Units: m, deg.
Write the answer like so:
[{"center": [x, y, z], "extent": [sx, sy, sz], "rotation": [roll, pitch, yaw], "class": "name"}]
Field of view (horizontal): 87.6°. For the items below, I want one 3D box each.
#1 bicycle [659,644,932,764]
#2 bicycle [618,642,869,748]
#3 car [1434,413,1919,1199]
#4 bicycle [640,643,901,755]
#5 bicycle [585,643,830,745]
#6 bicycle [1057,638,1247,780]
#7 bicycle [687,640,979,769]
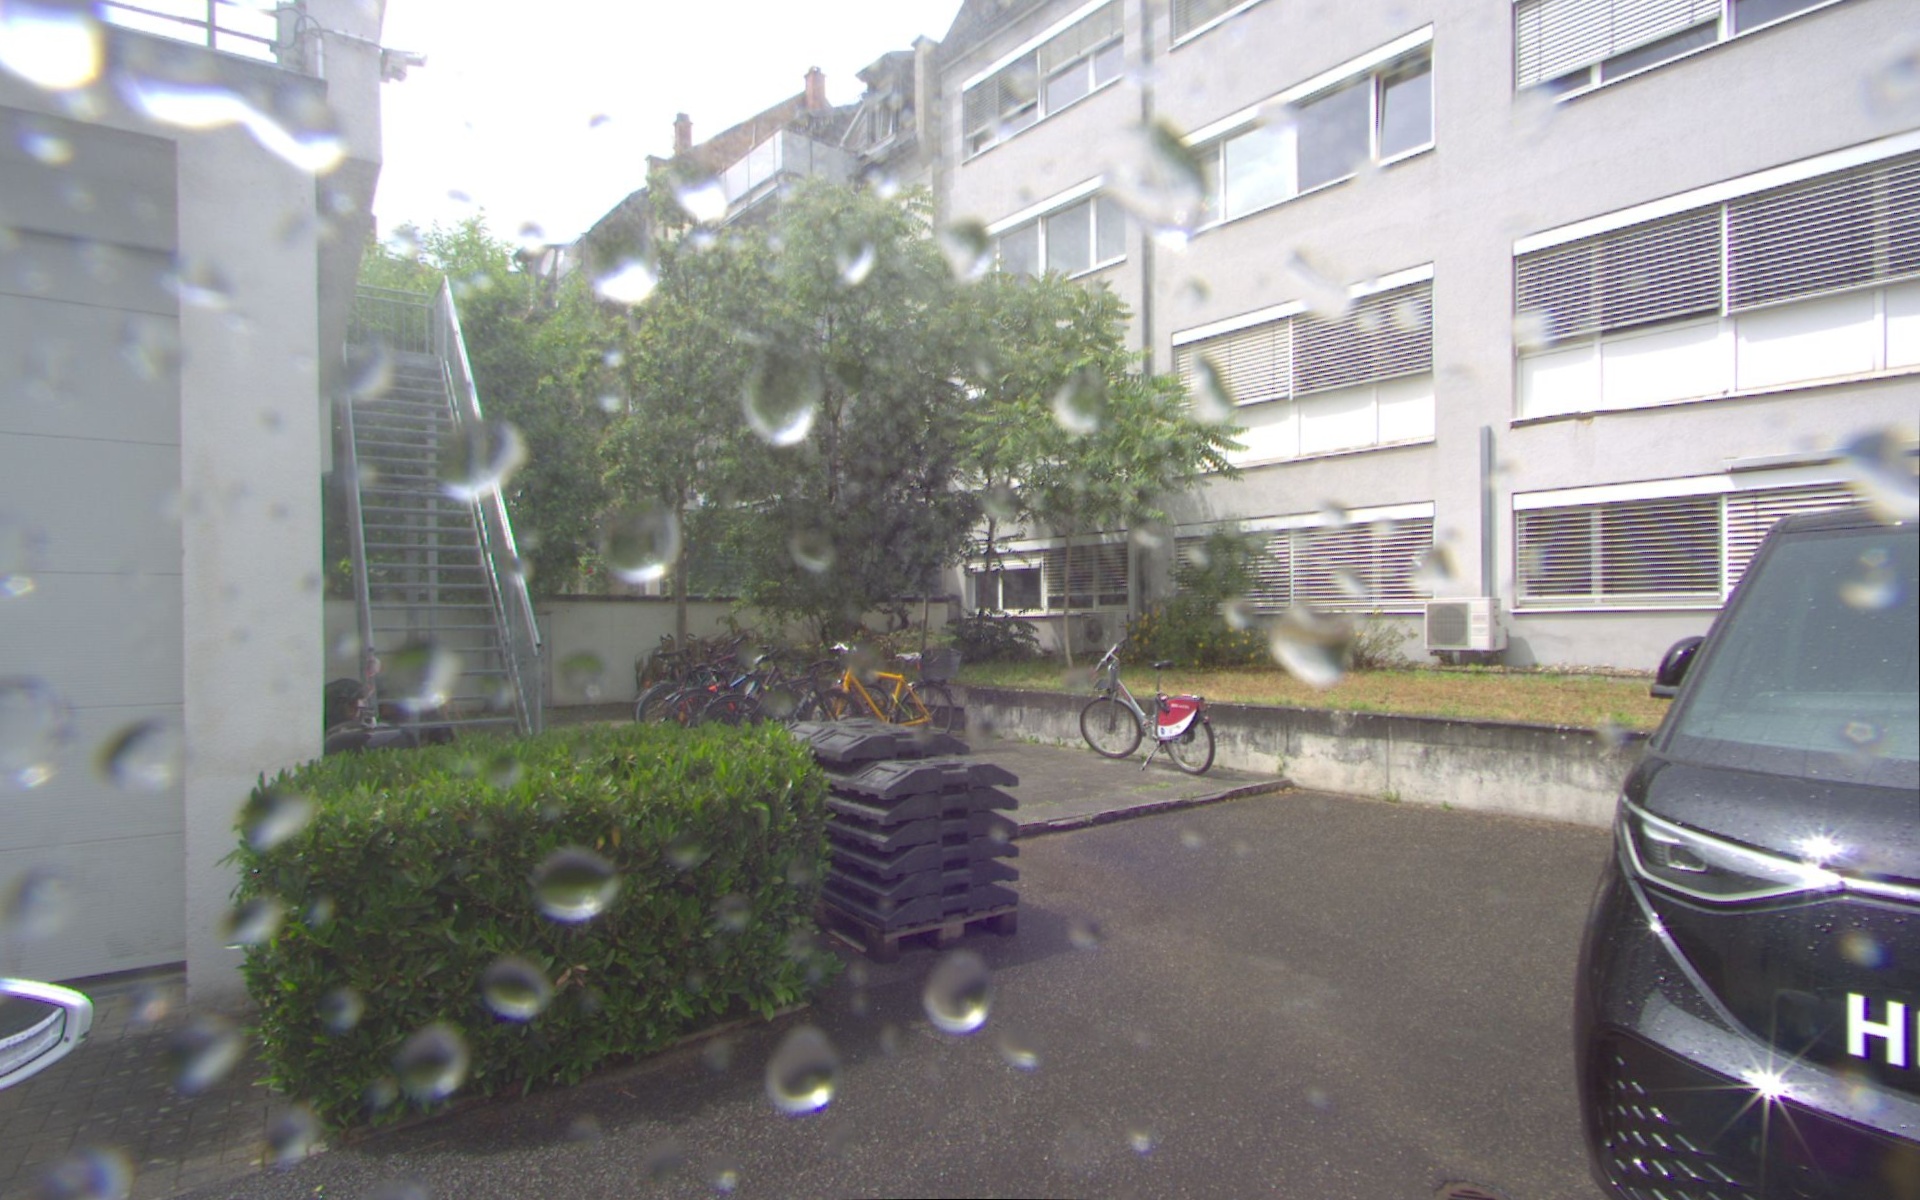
[{"center": [-1.637, 1.017, 10.450], "extent": [2.819, 1.092, 0.684], "rotation": [2, -1, -38], "class": "bicycle"}, {"center": [-2.440, 1.047, 11.634], "extent": [2.819, 1.092, 0.684], "rotation": [2, -1, -38], "class": "bicycle"}, {"center": [3.498, 0.587, 3.001], "extent": [4.673, 1.857, 2.092], "rotation": [-1, 0, -42], "class": "car"}, {"center": [-2.014, 1.036, 11.066], "extent": [2.819, 1.092, 0.684], "rotation": [2, -1, -38], "class": "bicycle"}, {"center": [-2.981, 1.082, 12.103], "extent": [2.819, 1.092, 0.684], "rotation": [2, -1, -38], "class": "bicycle"}, {"center": [1.737, 0.950, 9.275], "extent": [0.609, 1.174, 1.708], "rotation": [-1, -1, -41], "class": "bicycle"}, {"center": [-1.156, 0.961, 9.843], "extent": [2.899, 1.092, 0.684], "rotation": [2, -1, -38], "class": "bicycle"}]
